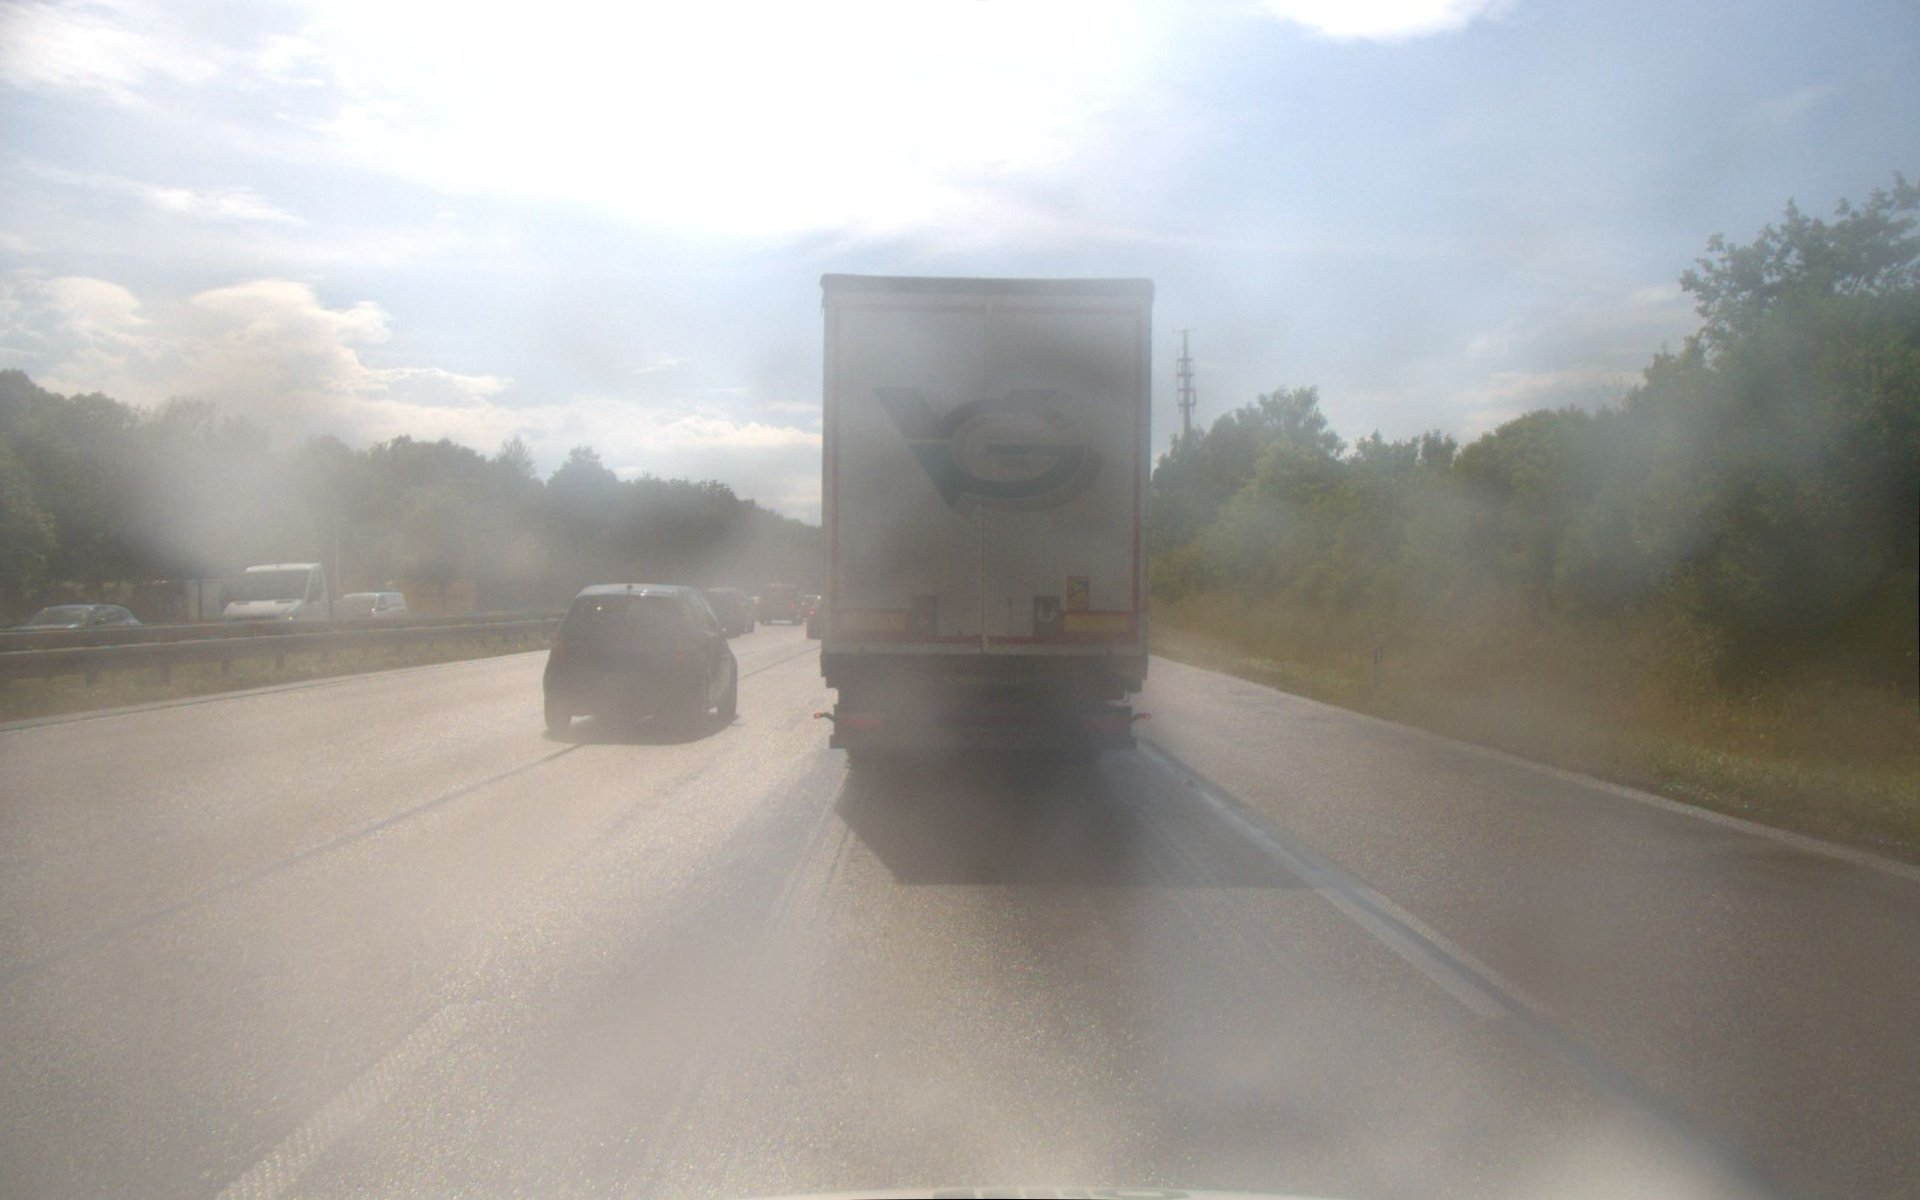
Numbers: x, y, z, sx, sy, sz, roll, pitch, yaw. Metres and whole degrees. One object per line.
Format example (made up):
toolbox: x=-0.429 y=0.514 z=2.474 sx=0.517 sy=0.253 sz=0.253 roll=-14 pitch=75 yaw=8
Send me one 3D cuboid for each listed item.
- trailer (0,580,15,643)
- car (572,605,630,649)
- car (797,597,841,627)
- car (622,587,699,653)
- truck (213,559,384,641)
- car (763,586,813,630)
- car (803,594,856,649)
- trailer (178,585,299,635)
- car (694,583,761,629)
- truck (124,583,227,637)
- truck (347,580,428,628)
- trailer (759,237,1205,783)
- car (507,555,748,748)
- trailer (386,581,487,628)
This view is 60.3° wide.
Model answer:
trailer: x=-58.506 y=0.690 z=92.385 sx=3.711 sy=3.713 sz=13.345 roll=-1 pitch=0 yaw=0
car: x=-17.592 y=1.296 z=81.241 sx=1.793 sy=2.081 sz=4.778 roll=1 pitch=0 yaw=-1
car: x=-7.861 y=0.685 z=92.596 sx=1.952 sy=1.592 sz=4.756 roll=1 pitch=0 yaw=0
car: x=-8.779 y=0.578 z=48.744 sx=1.658 sy=1.836 sz=3.974 roll=1 pitch=0 yaw=-2
truck: x=-16.778 y=0.020 z=42.304 sx=2.211 sy=1.928 sz=5.445 roll=1 pitch=0 yaw=-1
car: x=-8.605 y=0.399 z=83.140 sx=1.938 sy=2.090 sz=4.756 roll=1 pitch=0 yaw=0
car: x=-4.552 y=0.741 z=58.209 sx=1.658 sy=1.836 sz=3.974 roll=1 pitch=0 yaw=-2
trailer: x=-55.195 y=0.719 z=126.927 sx=3.708 sy=3.713 sz=10.505 roll=-1 pitch=0 yaw=7
car: x=-8.911 y=0.249 z=63.767 sx=1.869 sy=1.665 sz=4.616 roll=-1 pitch=0 yaw=0
truck: x=-56.069 y=0.704 z=118.454 sx=3.708 sy=3.724 sz=6.709 roll=1 pitch=0 yaw=5
truck: x=-51.389 y=0.365 z=148.666 sx=3.707 sy=4.189 sz=7.051 roll=1 pitch=0 yaw=13
trailer: x=0.025 y=-0.677 z=19.307 sx=3.217 sy=3.967 sz=14.125 roll=1 pitch=0 yaw=-1
car: x=-3.781 y=0.557 z=19.726 sx=2.230 sy=1.989 sz=4.816 roll=1 pitch=0 yaw=-5
trailer: x=-49.498 y=0.447 z=156.891 sx=3.707 sy=4.189 sz=11.735 roll=1 pitch=0 yaw=13
